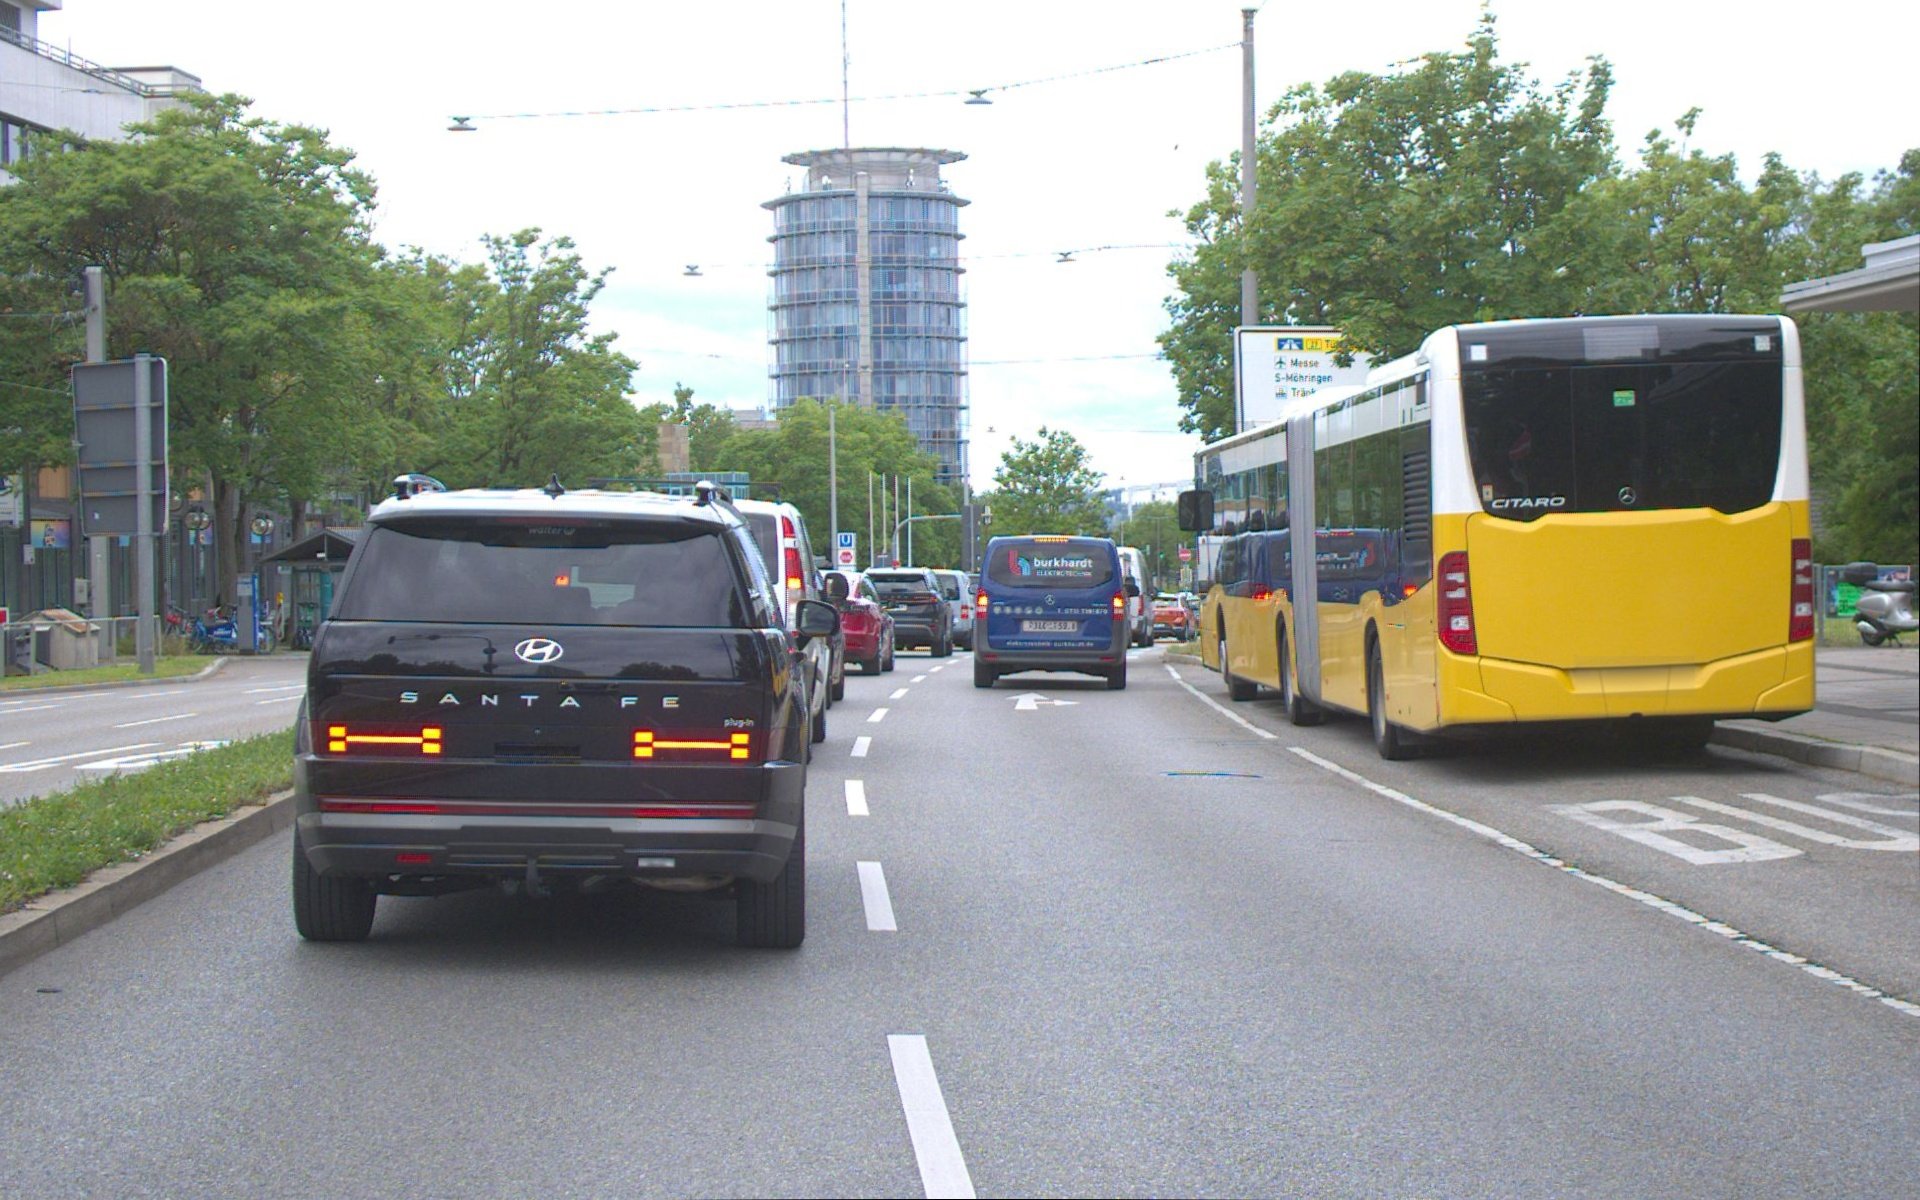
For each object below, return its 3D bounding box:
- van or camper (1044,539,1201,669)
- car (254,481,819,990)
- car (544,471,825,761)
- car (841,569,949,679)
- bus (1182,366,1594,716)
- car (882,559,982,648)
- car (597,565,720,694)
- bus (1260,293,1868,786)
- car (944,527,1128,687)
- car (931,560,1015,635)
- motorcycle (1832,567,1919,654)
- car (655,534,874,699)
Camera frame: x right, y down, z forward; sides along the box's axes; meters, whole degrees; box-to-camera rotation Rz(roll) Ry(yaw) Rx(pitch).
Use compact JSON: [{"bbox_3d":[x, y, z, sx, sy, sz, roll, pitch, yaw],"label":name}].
[{"bbox_3d":[2.577,0.022,55.592,1.993,1.911,4.410,0,2,-4],"label":"van or camper"},{"bbox_3d":[-1.605,0.402,13.961,1.902,1.725,4.447,1,2,-4],"label":"car"},{"bbox_3d":[-2.005,0.043,25.861,1.902,1.962,4.637,1,2,-3],"label":"car"},{"bbox_3d":[-1.228,0.408,63.648,1.902,1.852,4.710,1,2,-2],"label":"car"},{"bbox_3d":[4.244,-0.616,36.471,2.952,3.101,9.976,-2,1,0],"label":"bus"},{"bbox_3d":[-0.593,0.053,77.426,1.902,1.827,4.709,1,2,3],"label":"car"},{"bbox_3d":[-4.933,0.439,56.730,1.902,1.922,4.710,1,2,-4],"label":"car"},{"bbox_3d":[4.332,-0.464,26.958,2.966,3.106,9.244,-2,1,0],"label":"bus"},{"bbox_3d":[0.901,0.036,43.465,1.902,1.852,4.710,1,2,-4],"label":"car"},{"bbox_3d":[0.367,-0.089,88.936,1.902,1.827,4.709,-1,1,4],"label":"car"},{"bbox_3d":[11.918,0.125,43.252,0.633,1.067,1.778,-1,1,-41],"label":"motorcycle"},{"bbox_3d":[-2.105,0.121,35.816,1.901,1.537,4.711,1,2,-8],"label":"car"}]
